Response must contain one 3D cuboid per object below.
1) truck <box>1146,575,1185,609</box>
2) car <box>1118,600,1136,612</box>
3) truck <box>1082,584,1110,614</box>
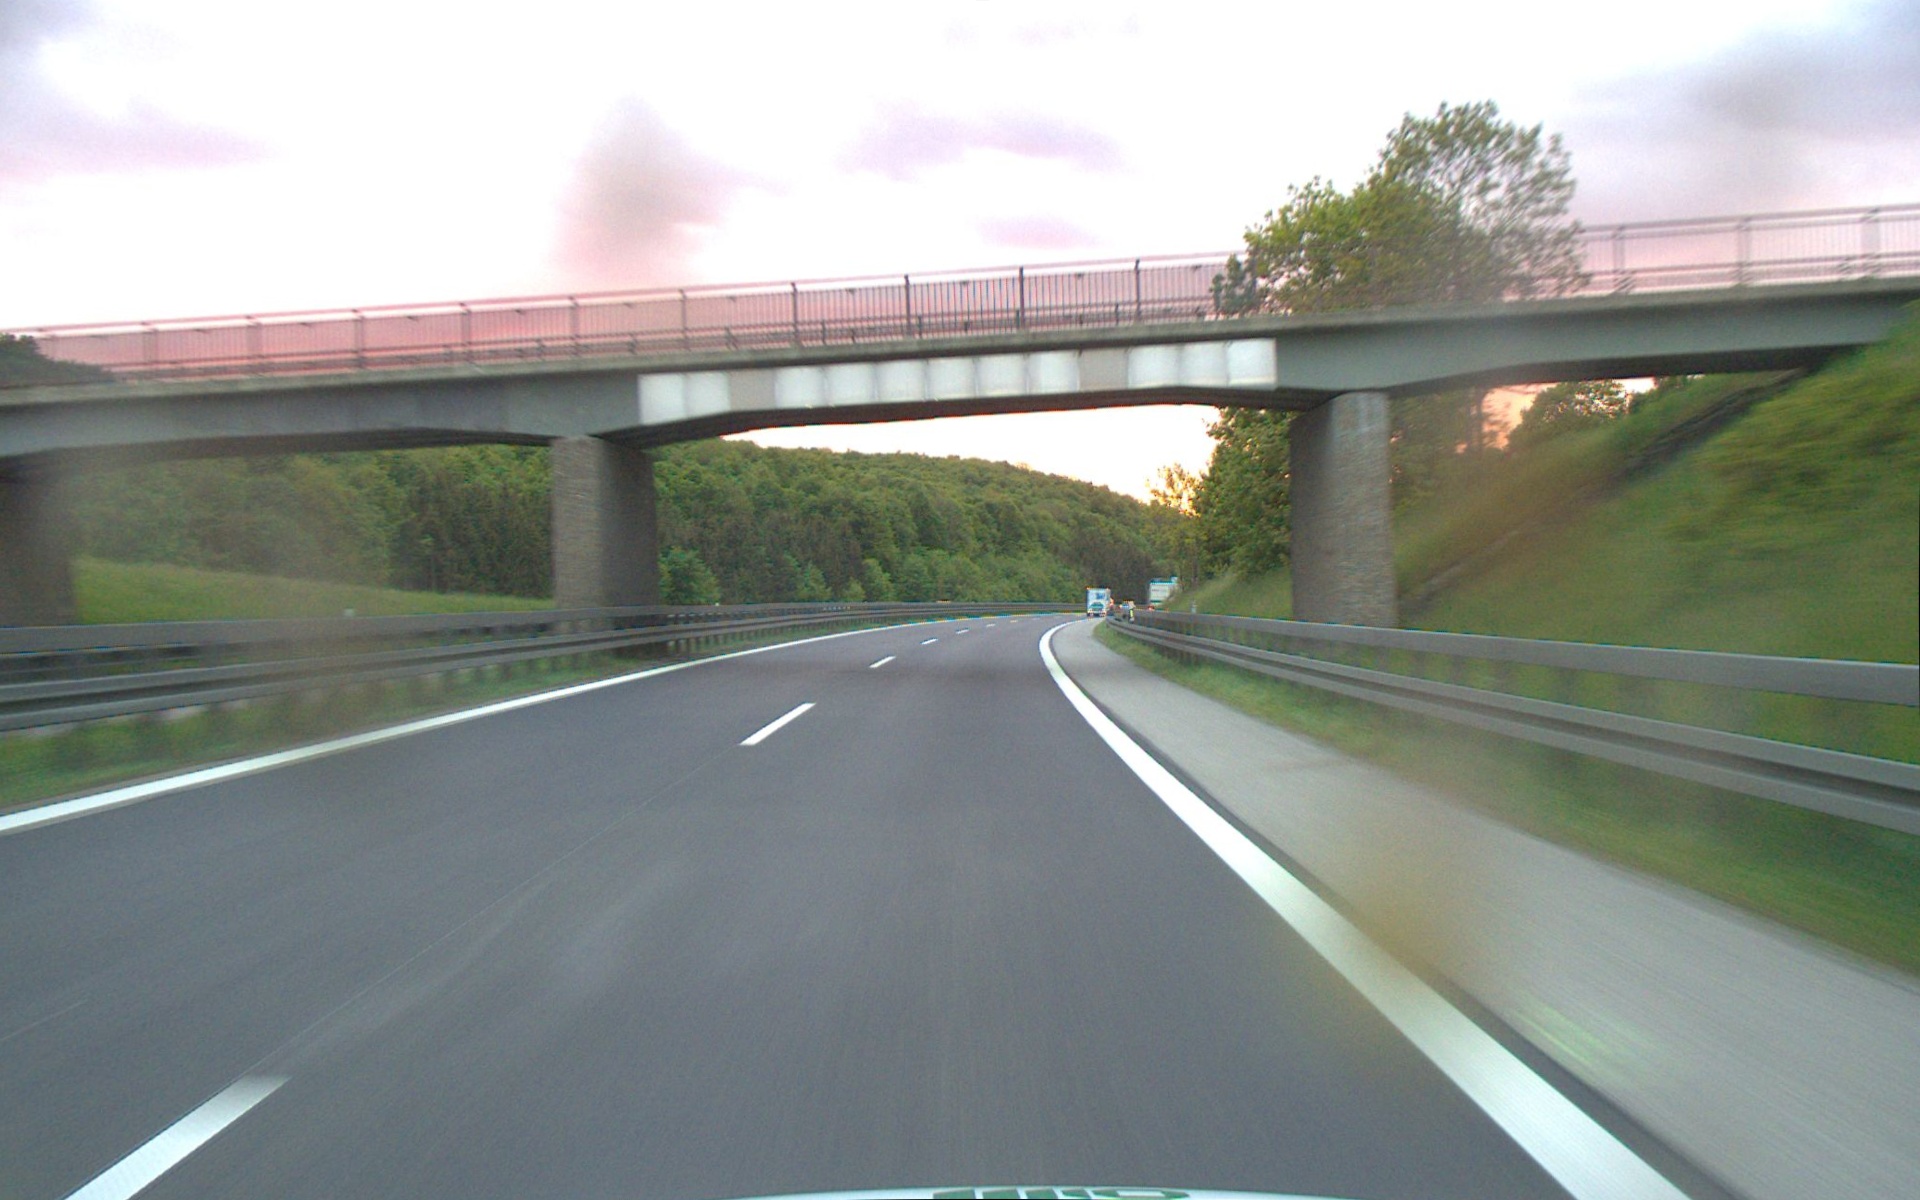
[{"bbox_3d":[27.354,-1.101,219.966,3.873,4.362,14.336,-1,0,12],"label":"truck"},{"bbox_3d":[21.631,0.757,214.036,1.951,1.544,4.003,0,0,12],"label":"car"},{"bbox_3d":[13.114,-0.141,159.250,2.227,2.711,5.241,-1,1,9],"label":"truck"}]
